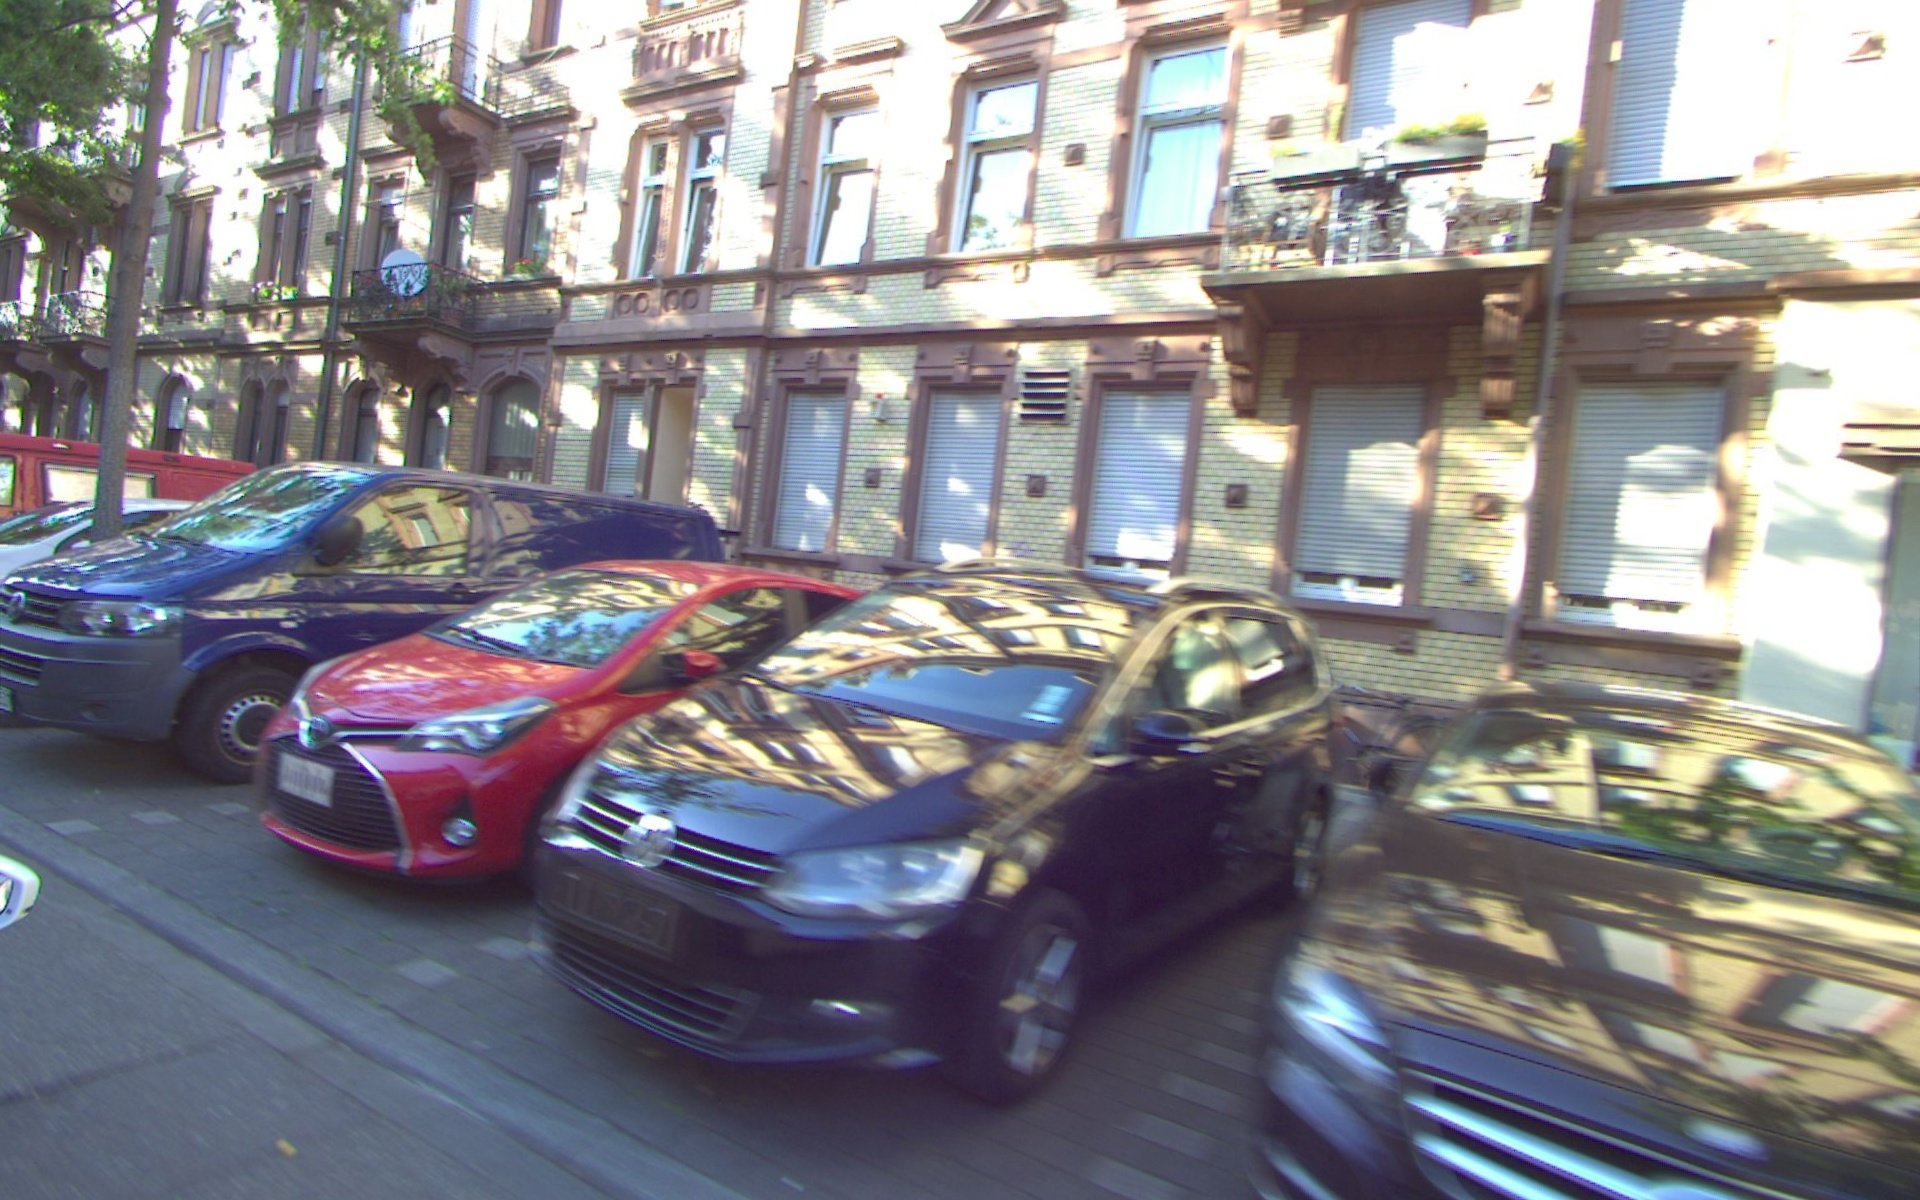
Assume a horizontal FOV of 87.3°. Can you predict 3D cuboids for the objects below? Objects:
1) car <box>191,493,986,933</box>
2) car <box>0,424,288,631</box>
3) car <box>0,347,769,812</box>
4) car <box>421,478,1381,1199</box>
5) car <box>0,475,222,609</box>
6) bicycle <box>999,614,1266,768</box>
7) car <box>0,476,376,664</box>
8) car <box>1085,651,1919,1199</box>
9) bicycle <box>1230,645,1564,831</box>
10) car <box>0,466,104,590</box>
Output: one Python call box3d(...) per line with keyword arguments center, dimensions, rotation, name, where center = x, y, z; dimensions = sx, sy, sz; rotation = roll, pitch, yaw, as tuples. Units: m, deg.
box3d(center=(-1.650, 0.526, 5.893), dimensions=(1.696, 1.553, 4.113), rotation=(7, -1, 30), name="car")
box3d(center=(-10.347, -0.815, 10.929), dimensions=(1.846, 2.060, 4.682), rotation=(6, 1, 27), name="car")
box3d(center=(-3.918, -0.003, 7.499), dimensions=(1.958, 2.241, 5.031), rotation=(7, -1, 29), name="car")
box3d(center=(0.376, 0.661, 4.681), dimensions=(1.822, 1.700, 4.686), rotation=(6, 1, 35), name="car")
box3d(center=(-12.355, -0.821, 12.544), dimensions=(1.848, 1.534, 4.677), rotation=(7, 1, 31), name="car")
box3d(center=(1.712, 0.870, 10.312), dimensions=(2.550, 1.187, 0.670), rotation=(6, 2, 33), name="bicycle")
box3d(center=(-8.103, -0.290, 9.487), dimensions=(1.847, 1.530, 4.058), rotation=(7, 1, 29), name="car")
box3d(center=(2.291, 1.011, 3.378), dimensions=(1.821, 1.431, 4.788), rotation=(6, 1, 32), name="car")
box3d(center=(3.818, 1.141, 8.955), dimensions=(2.550, 1.187, 0.670), rotation=(6, 2, 33), name="bicycle")
box3d(center=(-14.538, -1.145, 13.547), dimensions=(1.807, 1.649, 4.187), rotation=(7, 1, 33), name="car")
